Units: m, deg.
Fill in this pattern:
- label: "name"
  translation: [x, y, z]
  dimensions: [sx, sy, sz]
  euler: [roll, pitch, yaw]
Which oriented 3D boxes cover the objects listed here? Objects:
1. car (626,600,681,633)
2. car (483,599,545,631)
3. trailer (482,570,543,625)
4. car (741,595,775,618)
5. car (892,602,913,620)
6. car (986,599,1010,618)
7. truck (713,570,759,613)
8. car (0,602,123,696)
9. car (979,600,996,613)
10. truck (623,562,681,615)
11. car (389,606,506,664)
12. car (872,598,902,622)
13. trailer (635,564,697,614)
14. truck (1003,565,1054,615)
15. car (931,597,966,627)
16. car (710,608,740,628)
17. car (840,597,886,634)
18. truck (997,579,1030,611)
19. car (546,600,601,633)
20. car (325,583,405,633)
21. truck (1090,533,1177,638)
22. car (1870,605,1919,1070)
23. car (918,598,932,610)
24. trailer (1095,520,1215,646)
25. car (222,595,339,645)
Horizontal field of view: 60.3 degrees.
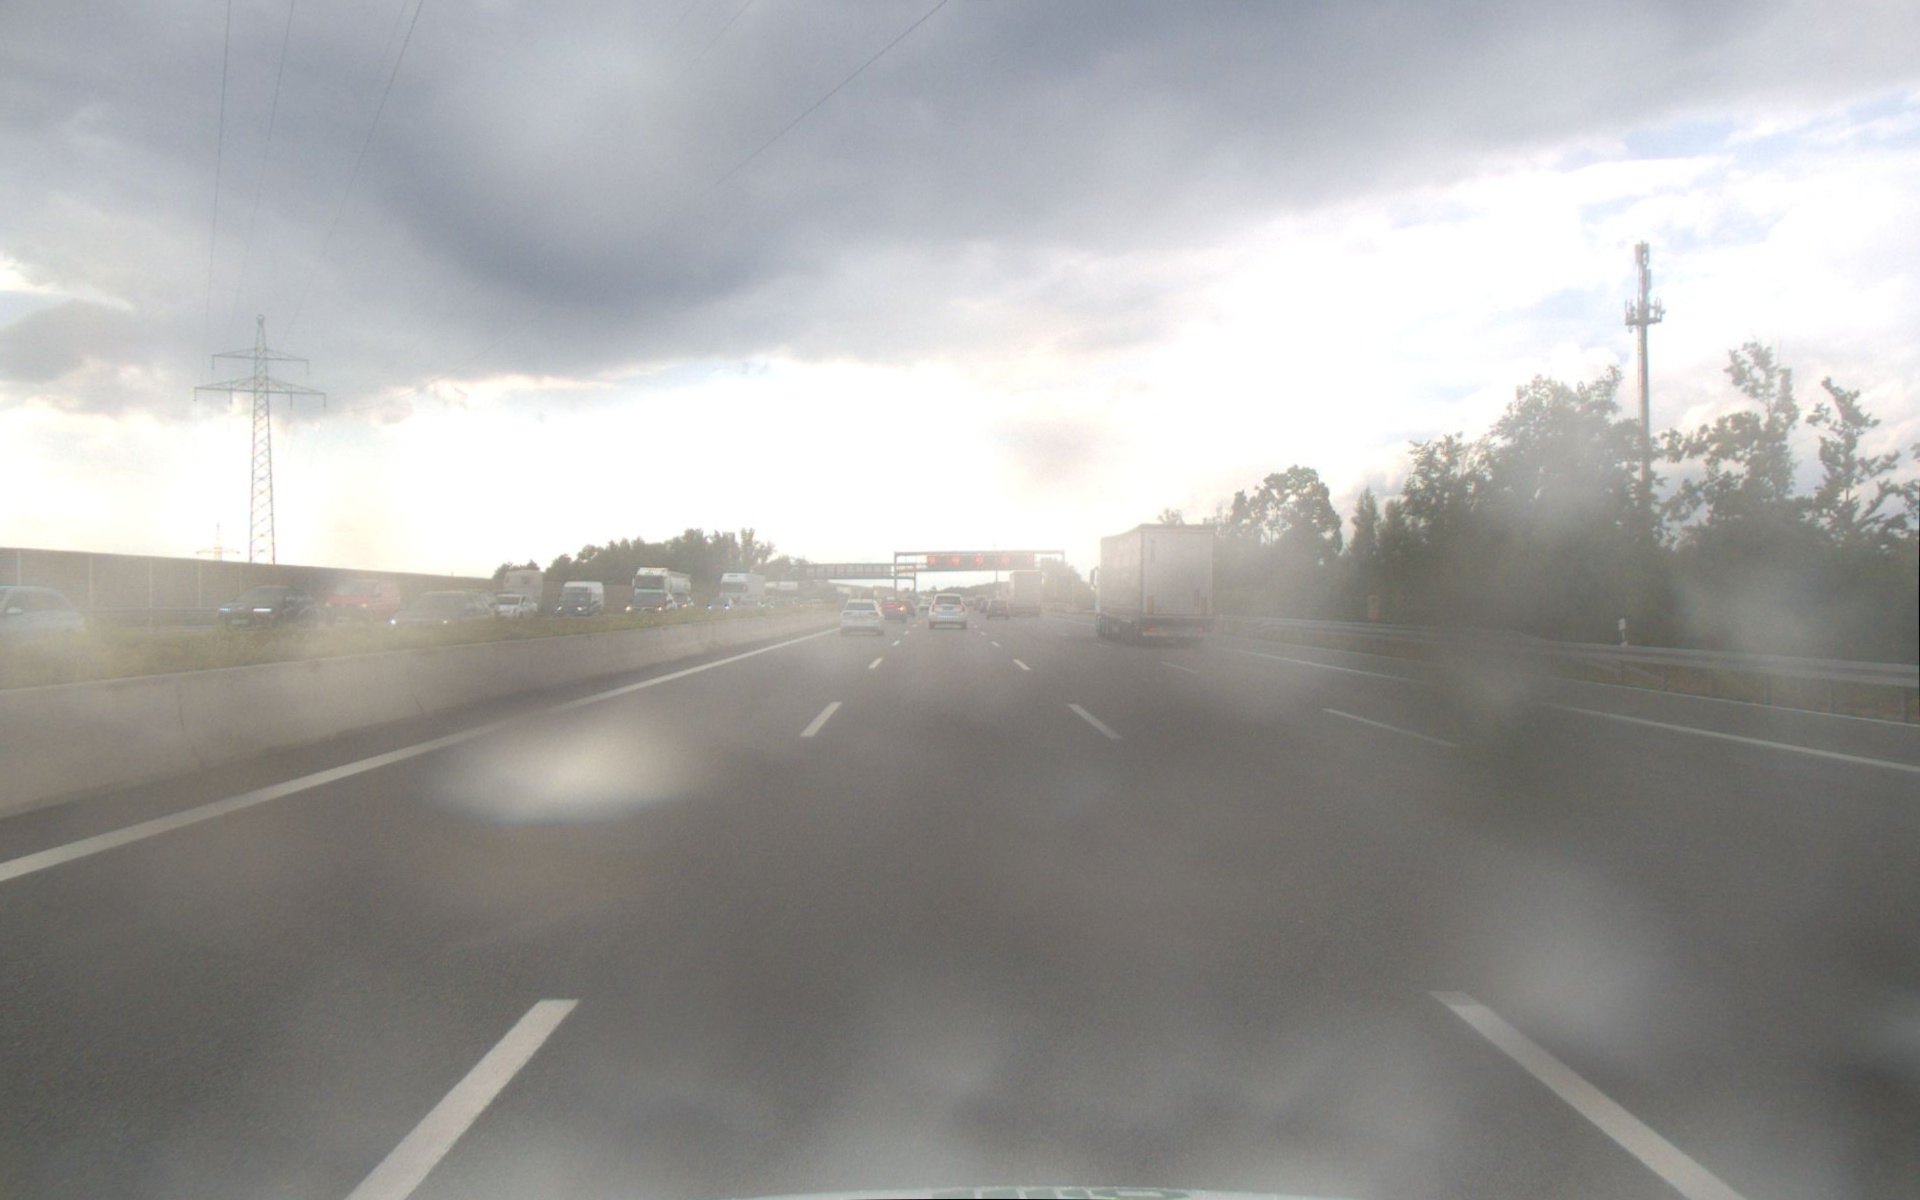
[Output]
- label: "car"
  translation: [-14.366, 0.773, 77.739]
  dimensions: [1.790, 1.480, 4.941]
  euler: [1, 0, -2]
- label: "car"
  translation: [-21.493, 0.708, 79.836]
  dimensions: [1.730, 1.480, 4.941]
  euler: [1, 0, -2]
- label: "trailer"
  translation: [-25.679, -0.134, 95.057]
  dimensions: [2.202, 3.014, 4.899]
  euler: [1, 0, -2]
- label: "car"
  translation: [-18.628, 0.585, 152.895]
  dimensions: [2.233, 2.002, 6.087]
  euler: [1, 0, 1]
- label: "car"
  translation: [-4.770, 0.925, 137.440]
  dimensions: [1.737, 1.466, 4.054]
  euler: [1, 0, -2]
- label: "car"
  translation: [2.959, 0.663, 130.565]
  dimensions: [1.798, 1.466, 4.055]
  euler: [1, 0, 0]
- label: "truck"
  translation: [-22.254, -0.782, 164.463]
  dimensions: [3.585, 4.118, 6.524]
  euler: [1, 0, 0]
- label: "car"
  translation: [-17.071, 0.830, 29.529]
  dimensions: [1.730, 1.563, 5.159]
  euler: [1, 0, -2]
- label: "car"
  translation: [3.047, 0.695, 185.658]
  dimensions: [1.798, 1.466, 4.055]
  euler: [1, 0, 0]
- label: "truck"
  translation: [-26.926, -0.955, 145.070]
  dimensions: [3.586, 4.394, 8.236]
  euler: [1, 0, -1]
- label: "car"
  translation: [-13.965, 0.912, 45.371]
  dimensions: [1.730, 1.480, 5.083]
  euler: [1, 0, -2]
- label: "car"
  translation: [-4.548, 0.618, 103.540]
  dimensions: [1.736, 1.466, 4.054]
  euler: [1, 0, -2]
- label: "trailer"
  translation: [-27.030, -0.930, 152.680]
  dimensions: [3.586, 4.311, 12.465]
  euler: [1, 0, -1]
- label: "truck"
  translation: [6.312, -0.909, 154.735]
  dimensions: [4.095, 4.363, 12.610]
  euler: [1, 0, -1]
- label: "car"
  translation: [-0.610, 0.595, 84.467]
  dimensions: [1.736, 1.466, 4.054]
  euler: [1, 0, -2]
- label: "car"
  translation: [-18.326, 1.399, 129.023]
  dimensions: [1.751, 1.480, 4.563]
  euler: [1, 0, -2]
- label: "car"
  translation: [-3.940, 0.612, 67.839]
  dimensions: [1.736, 1.466, 3.873]
  euler: [1, 0, -1]
- label: "truck"
  translation: [7.488, -0.636, 233.084]
  dimensions: [4.157, 4.249, 11.989]
  euler: [1, 0, 0]
- label: "car"
  translation: [-18.489, 0.785, 79.351]
  dimensions: [1.730, 1.480, 4.232]
  euler: [1, 0, -2]
- label: "car"
  translation: [-25.272, 0.329, 70.413]
  dimensions: [1.730, 2.002, 4.941]
  euler: [1, 0, -2]
- label: "truck"
  translation: [7.048, -0.562, 68.042]
  dimensions: [2.900, 4.090, 6.589]
  euler: [1, 0, 1]
- label: "car"
  translation: [3.773, 0.760, 3.936]
  dimensions: [1.417, 1.466, 3.163]
  euler: [1, 0, -2]
- label: "car"
  translation: [-4.458, 0.458, 210.129]
  dimensions: [1.736, 1.466, 4.055]
  euler: [1, 0, 0]
- label: "trailer"
  translation: [6.997, -0.568, 61.385]
  dimensions: [2.900, 4.090, 14.119]
  euler: [1, 0, 1]
- label: "car"
  translation: [-21.345, 0.610, 52.167]
  dimensions: [1.730, 1.480, 4.941]
  euler: [1, 0, -2]
